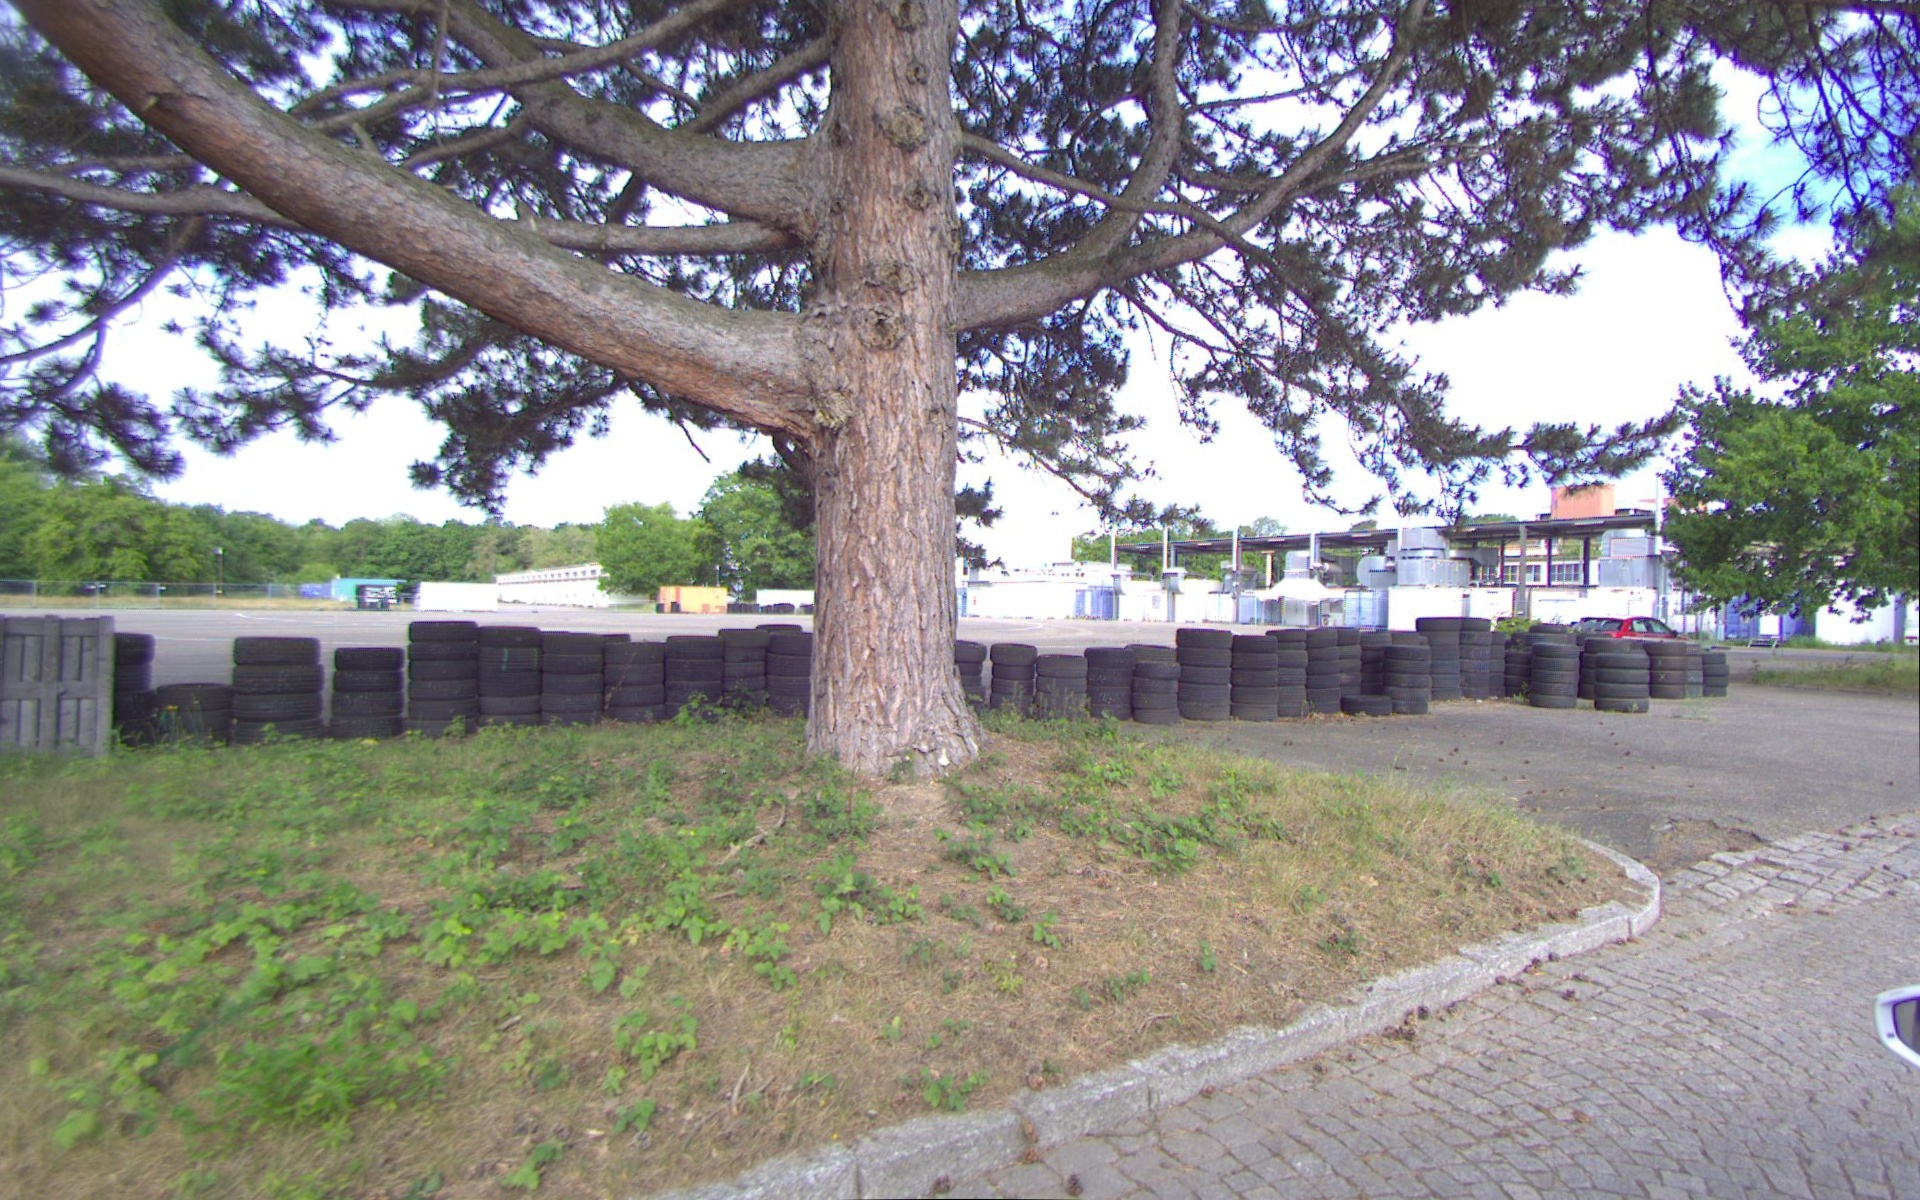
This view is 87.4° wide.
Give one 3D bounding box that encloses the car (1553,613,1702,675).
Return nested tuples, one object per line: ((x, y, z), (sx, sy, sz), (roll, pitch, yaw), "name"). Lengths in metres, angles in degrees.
((17.195, 1.099, 25.876), (3.443, 1.472, 1.760), (1, 0, -27), "car")

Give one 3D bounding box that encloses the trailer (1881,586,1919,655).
((47.234, 0.981, 47.477), (8.683, 3.108, 3.143), (1, 0, -31), "trailer")

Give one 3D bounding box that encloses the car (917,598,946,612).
((-3.394, 0.568, 119.219), (1.613, 1.553, 3.941), (1, 0, -34), "car")
